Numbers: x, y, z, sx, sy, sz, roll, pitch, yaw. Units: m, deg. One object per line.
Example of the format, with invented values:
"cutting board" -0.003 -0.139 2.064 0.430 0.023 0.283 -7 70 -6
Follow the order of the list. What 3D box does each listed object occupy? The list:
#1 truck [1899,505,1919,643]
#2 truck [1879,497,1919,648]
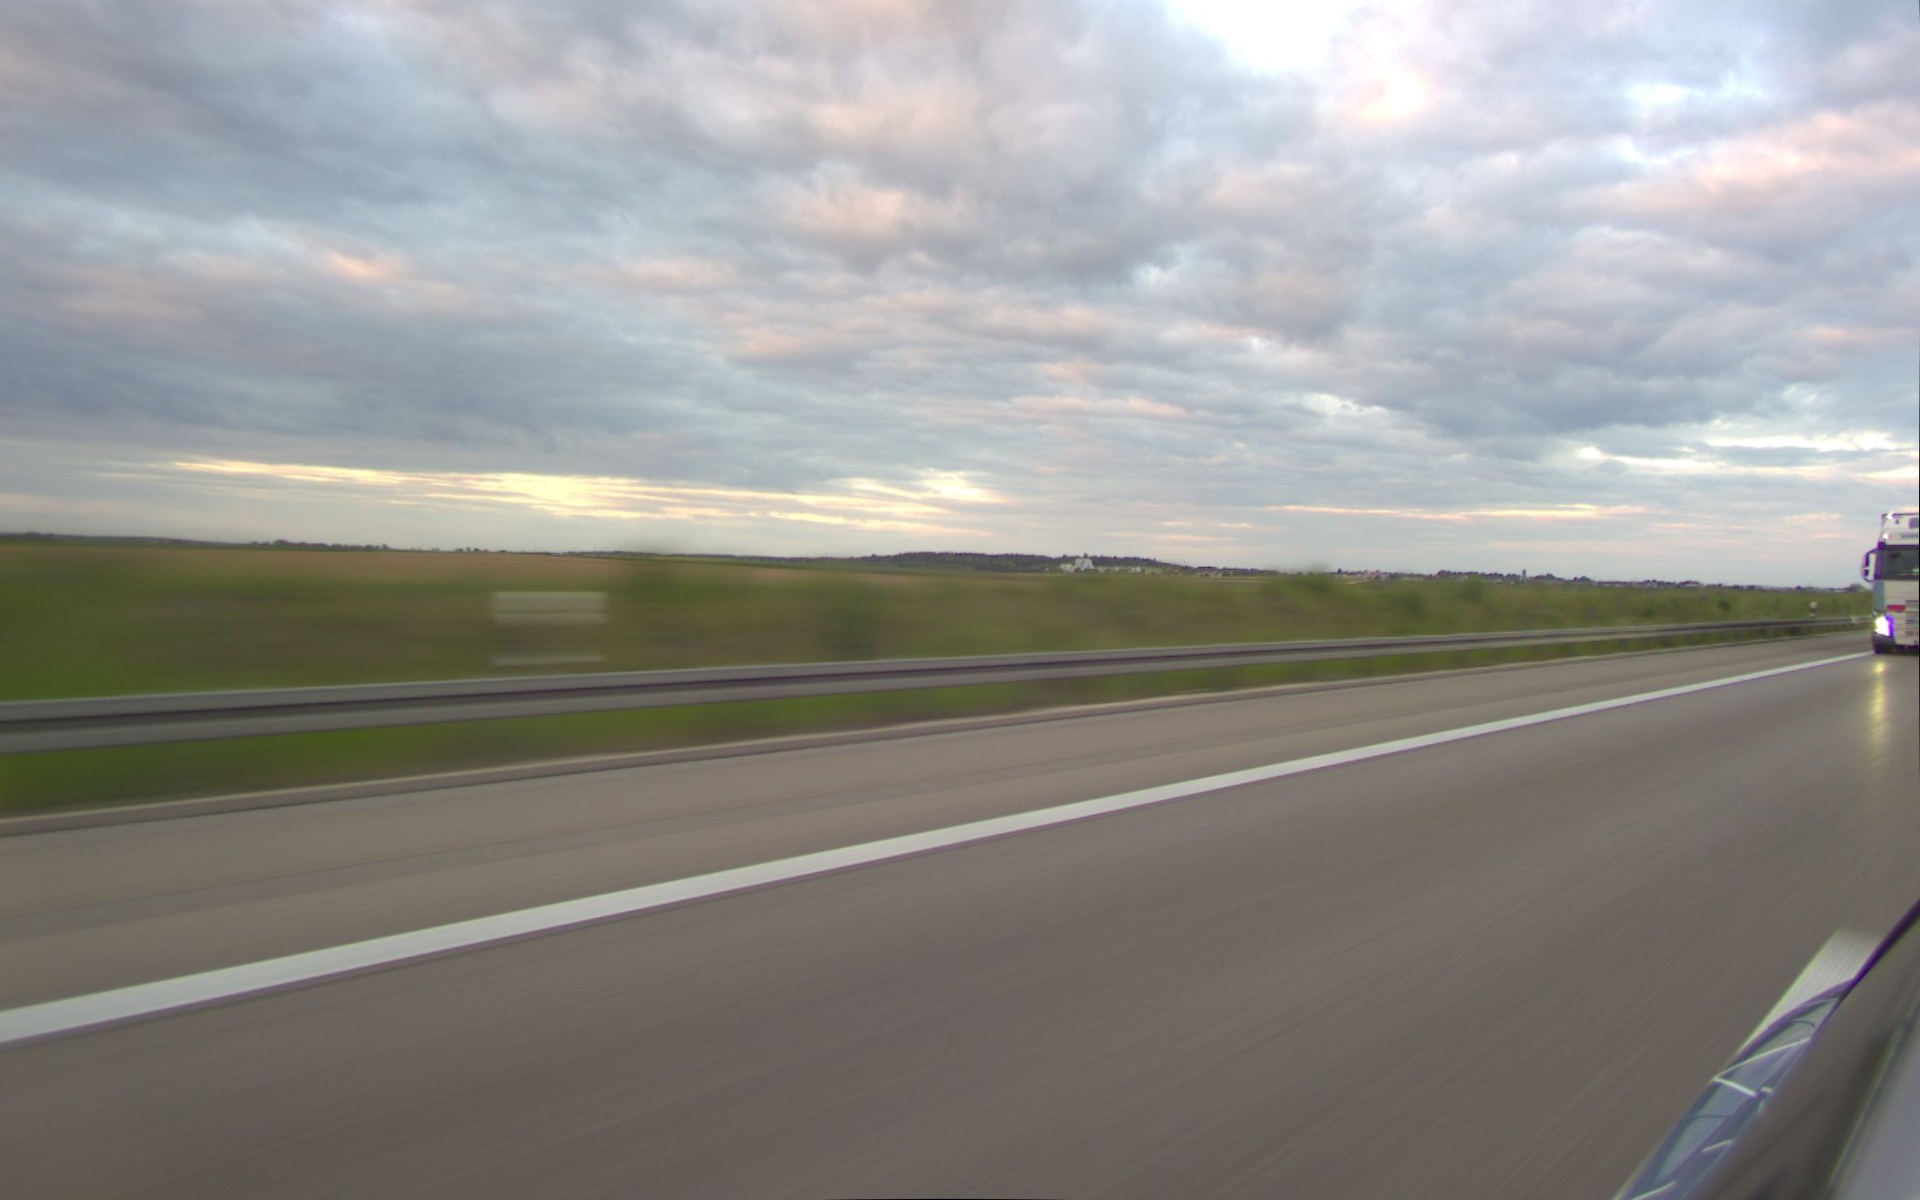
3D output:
"truck" 33.711 -0.724 33.268 12.754 4.073 2.596 0 1 -40
"truck" 28.470 -0.719 28.830 5.755 4.073 2.596 0 1 -40
